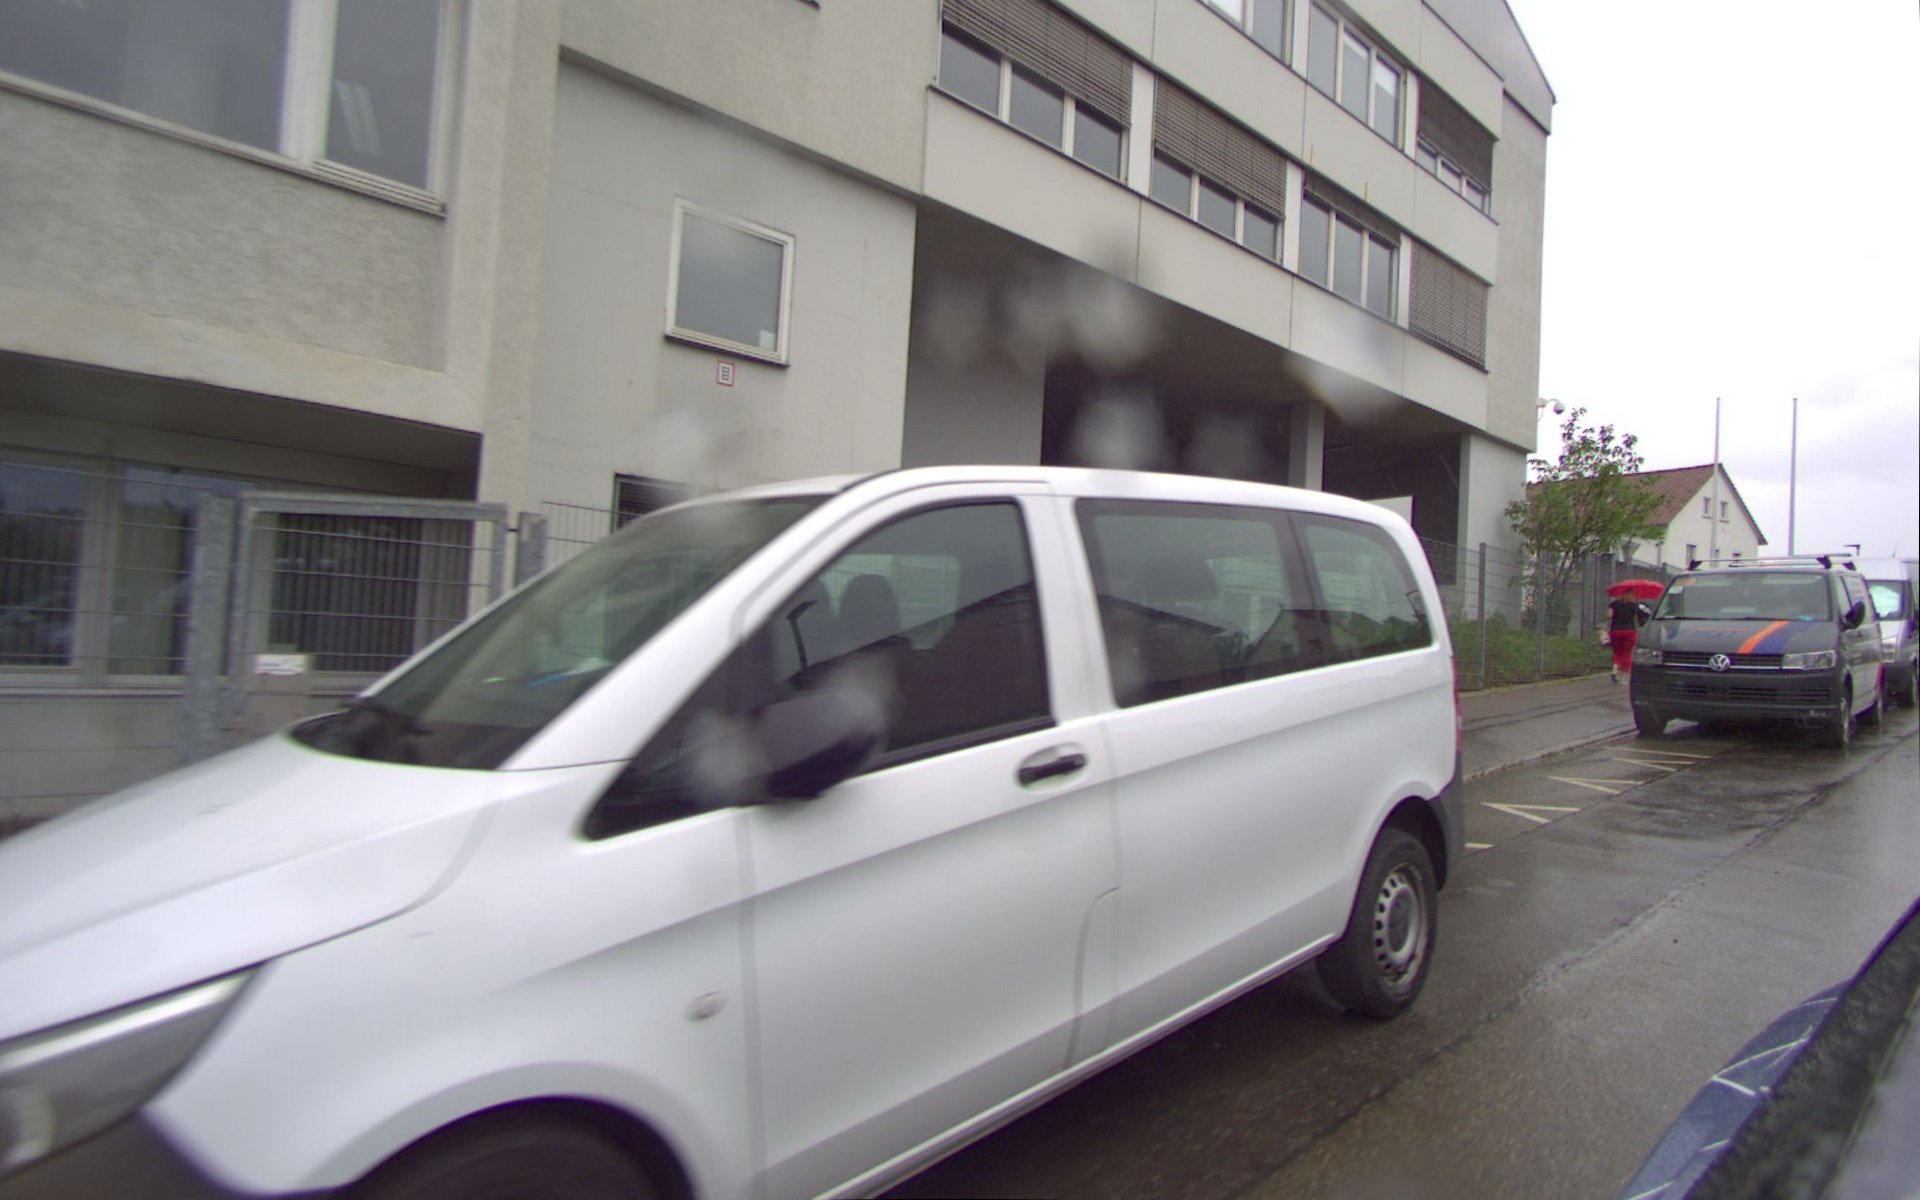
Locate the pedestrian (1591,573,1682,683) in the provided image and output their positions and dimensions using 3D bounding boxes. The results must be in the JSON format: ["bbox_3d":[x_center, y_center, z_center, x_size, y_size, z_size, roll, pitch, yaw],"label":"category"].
[{"bbox_3d":[11.499,0.462,17.197,1.013,1.781,1.025,3,0,-43],"label":"pedestrian"}]

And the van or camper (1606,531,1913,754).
[{"bbox_3d":[9.756,0.405,12.164,5.112,2.140,1.997,1,1,-42],"label":"van or camper"}]

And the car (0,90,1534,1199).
[{"bbox_3d":[-0.163,0.391,3.297,4.888,1.959,1.997,1,0,-41],"label":"car"}]

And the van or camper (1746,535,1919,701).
[{"bbox_3d":[14.554,0.258,16.312,5.346,2.271,1.997,1,1,-42],"label":"van or camper"}]
